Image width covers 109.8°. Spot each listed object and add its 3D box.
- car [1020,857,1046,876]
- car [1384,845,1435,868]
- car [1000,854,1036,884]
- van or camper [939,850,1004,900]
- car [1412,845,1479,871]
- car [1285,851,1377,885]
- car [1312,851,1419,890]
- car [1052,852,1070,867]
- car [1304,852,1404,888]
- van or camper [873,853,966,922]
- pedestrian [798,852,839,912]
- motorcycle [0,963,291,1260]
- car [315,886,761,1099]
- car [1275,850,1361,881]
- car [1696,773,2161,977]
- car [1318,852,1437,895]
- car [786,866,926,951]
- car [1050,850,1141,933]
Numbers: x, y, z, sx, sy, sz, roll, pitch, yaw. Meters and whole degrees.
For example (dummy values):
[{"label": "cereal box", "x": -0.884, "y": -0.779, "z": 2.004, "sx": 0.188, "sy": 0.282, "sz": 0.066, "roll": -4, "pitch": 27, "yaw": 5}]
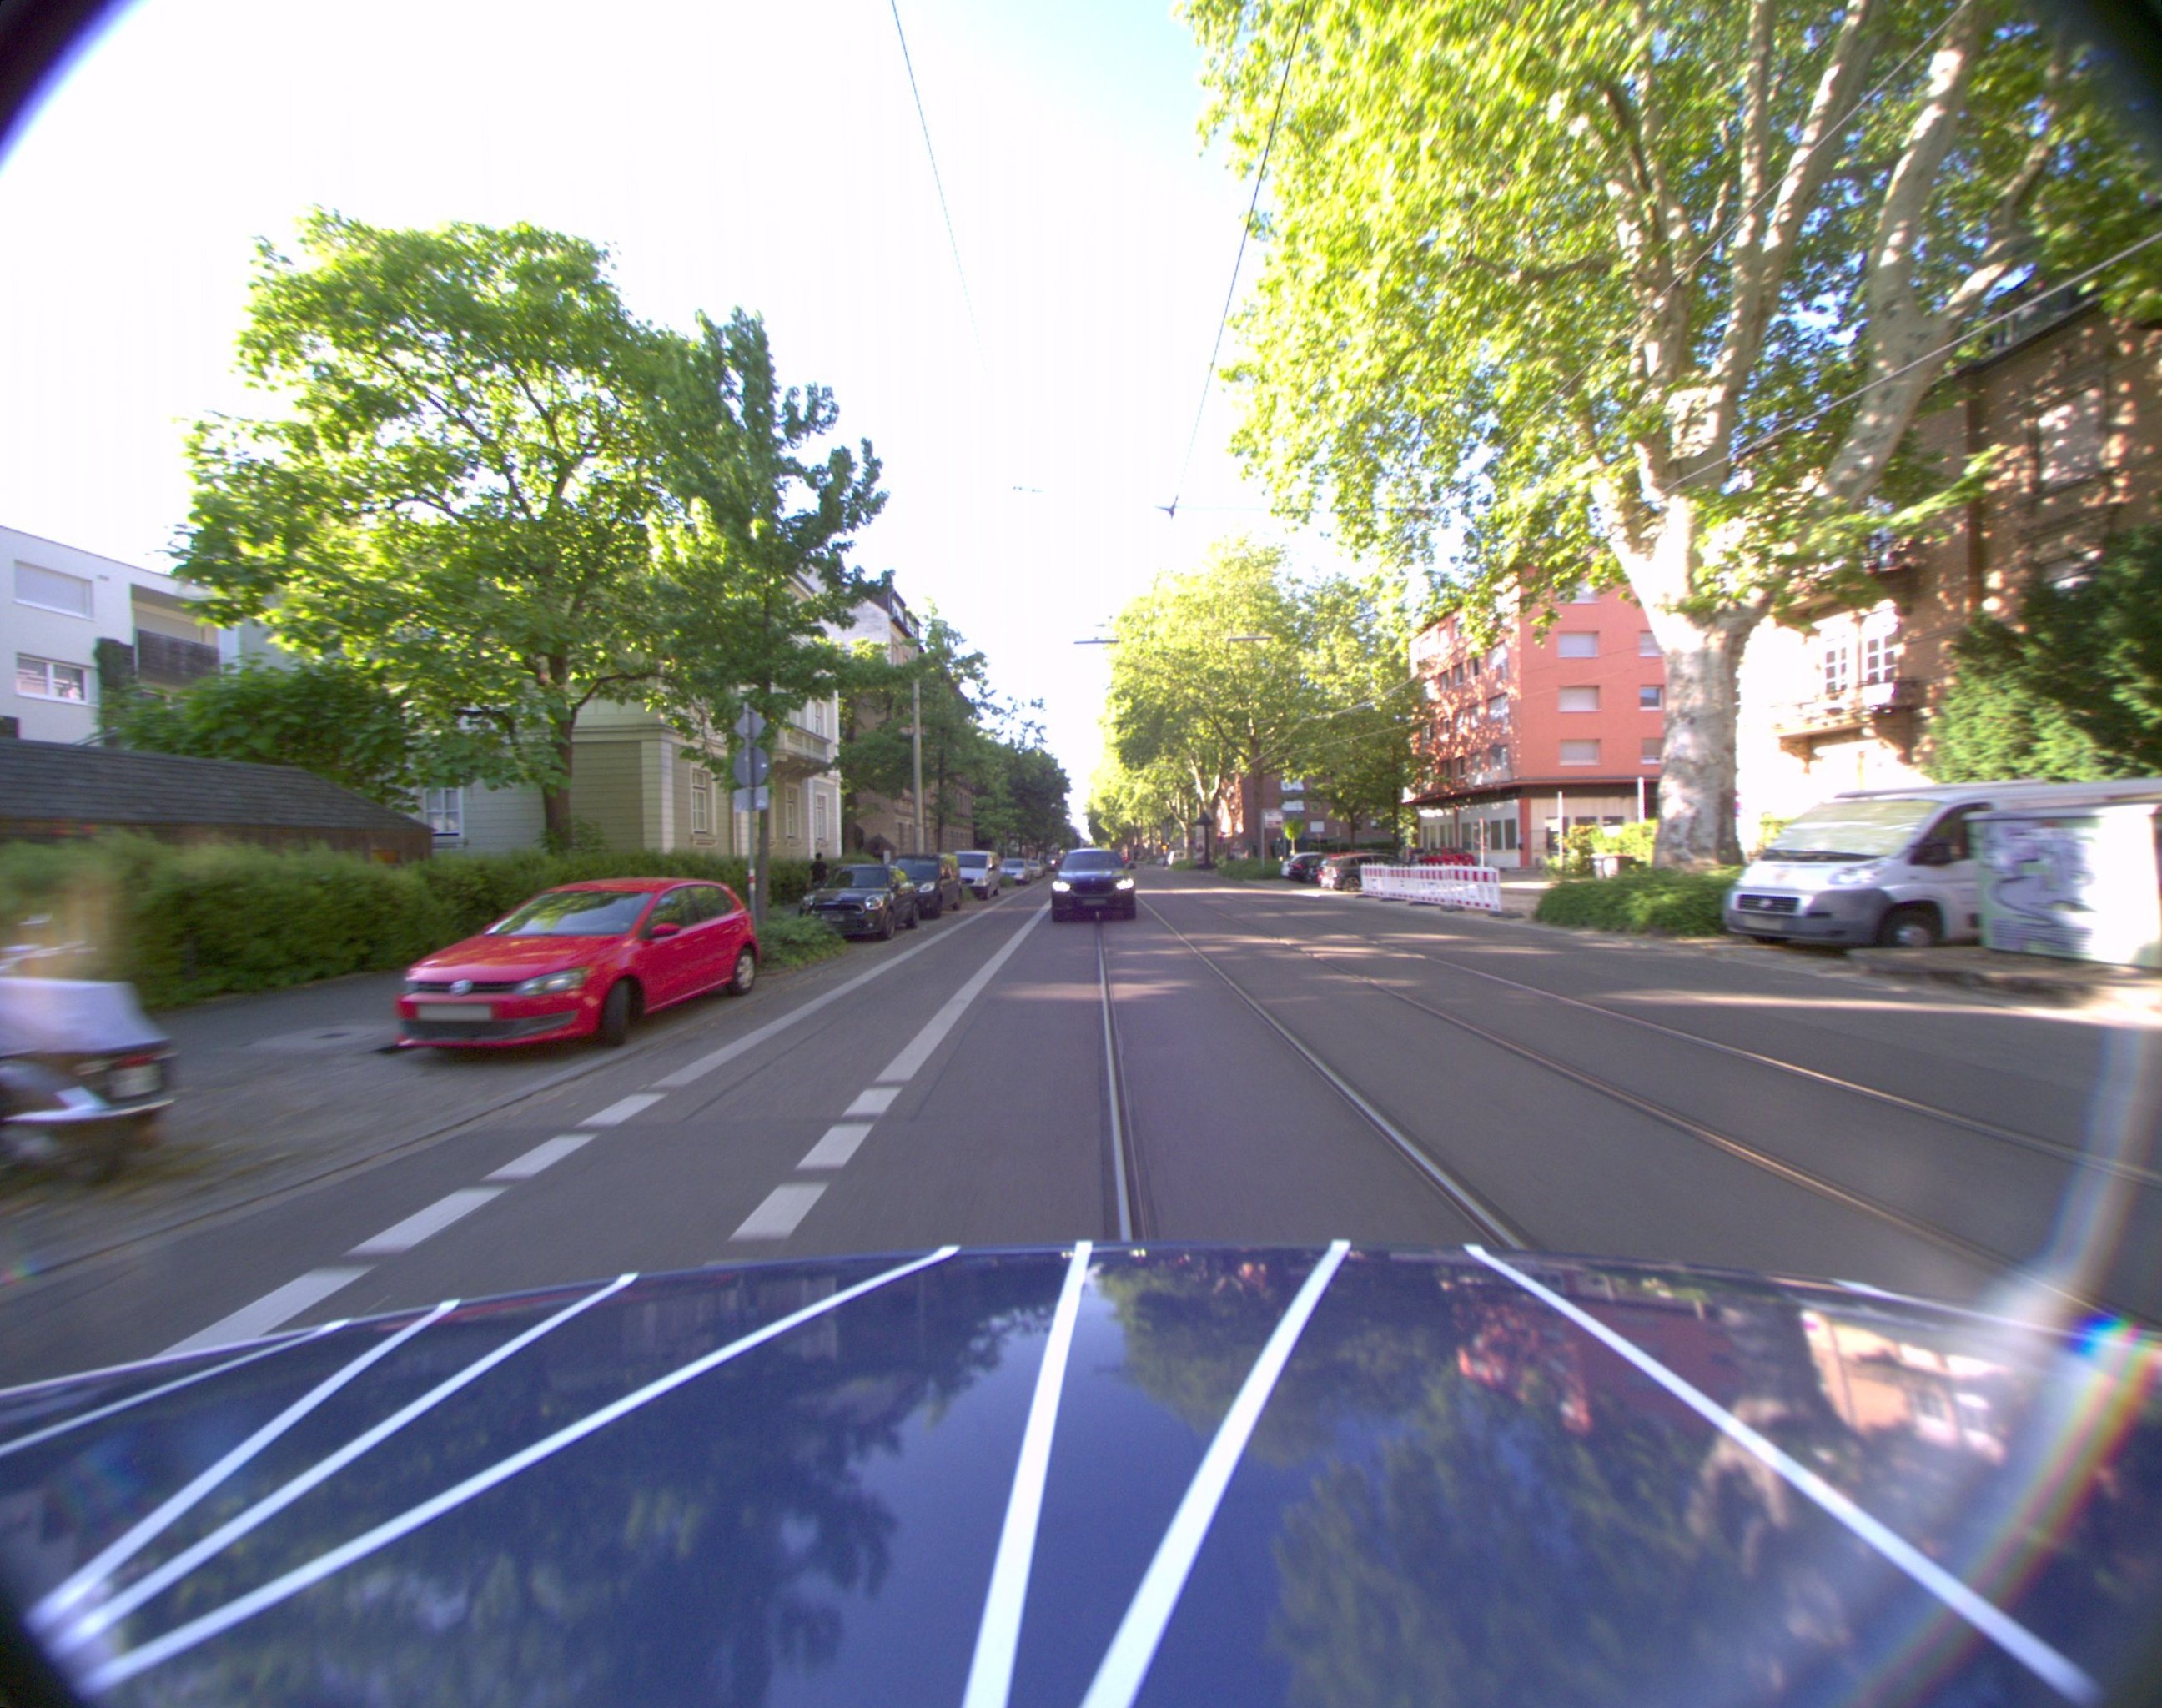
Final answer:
[{"label": "car", "x": -3.852, "y": 0.980, "z": 61.277, "sx": 1.781, "sy": 1.490, "sz": 4.372, "roll": 1, "pitch": 0, "yaw": 1}, {"label": "car", "x": 21.444, "y": 0.173, "z": 49.739, "sx": 1.671, "sy": 1.438, "sz": 3.651, "roll": 1, "pitch": 0, "yaw": -1}, {"label": "car", "x": -3.819, "y": 0.885, "z": 46.800, "sx": 1.815, "sy": 1.701, "sz": 4.372, "roll": 1, "pitch": 0, "yaw": 1}, {"label": "van or camper", "x": -4.374, "y": 0.788, "z": 31.048, "sx": 1.882, "sy": 1.873, "sz": 4.923, "roll": 1, "pitch": 0, "yaw": 1}, {"label": "car", "x": 21.496, "y": 0.228, "z": 44.987, "sx": 1.671, "sy": 1.438, "sz": 4.610, "roll": 1, "pitch": 0, "yaw": -1}, {"label": "car", "x": 12.366, "y": 0.675, "z": 37.769, "sx": 3.966, "sy": 1.506, "sz": 1.810, "roll": -2, "pitch": 0, "yaw": -1}, {"label": "car", "x": 12.277, "y": 0.701, "z": 32.953, "sx": 3.966, "sy": 1.506, "sz": 1.810, "roll": -2, "pitch": 0, "yaw": -1}, {"label": "car", "x": -2.351, "y": 0.662, "z": 91.147, "sx": 1.912, "sy": 1.699, "sz": 4.307, "roll": 1, "pitch": 0, "yaw": 1}, {"label": "car", "x": 12.558, "y": 0.714, "z": 35.105, "sx": 3.966, "sy": 1.506, "sz": 1.810, "roll": -2, "pitch": 0, "yaw": -1}, {"label": "van or camper", "x": -4.577, "y": 0.883, "z": 22.158, "sx": 1.694, "sy": 1.772, "sz": 4.443, "roll": 1, "pitch": 0, "yaw": 1}, {"label": "pedestrian", "x": -7.546, "y": 0.800, "z": 21.897, "sx": 0.813, "sy": 1.668, "sz": 0.885, "roll": -2, "pitch": 1, "yaw": 1}, {"label": "motorcycle", "x": -5.460, "y": 1.221, "z": 3.894, "sx": 2.071, "sy": 1.152, "sz": 0.828, "roll": 1, "pitch": 1, "yaw": 5}, {"label": "car", "x": -4.808, "y": 1.097, "z": 7.517, "sx": 1.607, "sy": 1.372, "sz": 3.864, "roll": 1, "pitch": 0, "yaw": 1}, {"label": "car", "x": 12.635, "y": 0.631, "z": 40.636, "sx": 3.966, "sy": 1.506, "sz": 1.810, "roll": -2, "pitch": 0, "yaw": -1}, {"label": "car", "x": 11.733, "y": 0.253, "z": 10.354, "sx": 5.019, "sy": 2.383, "sz": 2.028, "roll": -2, "pitch": 0, "yaw": -1}, {"label": "car", "x": 11.585, "y": 0.762, "z": 29.866, "sx": 3.966, "sy": 1.506, "sz": 1.810, "roll": -2, "pitch": 0, "yaw": -1}, {"label": "car", "x": -4.615, "y": 1.050, "z": 16.218, "sx": 1.694, "sy": 1.478, "sz": 4.143, "roll": 1, "pitch": 0, "yaw": 1}, {"label": "car", "x": 0.337, "y": 0.795, "z": 18.561, "sx": 1.924, "sy": 1.741, "sz": 4.806, "roll": 1, "pitch": 0, "yaw": 1}]
